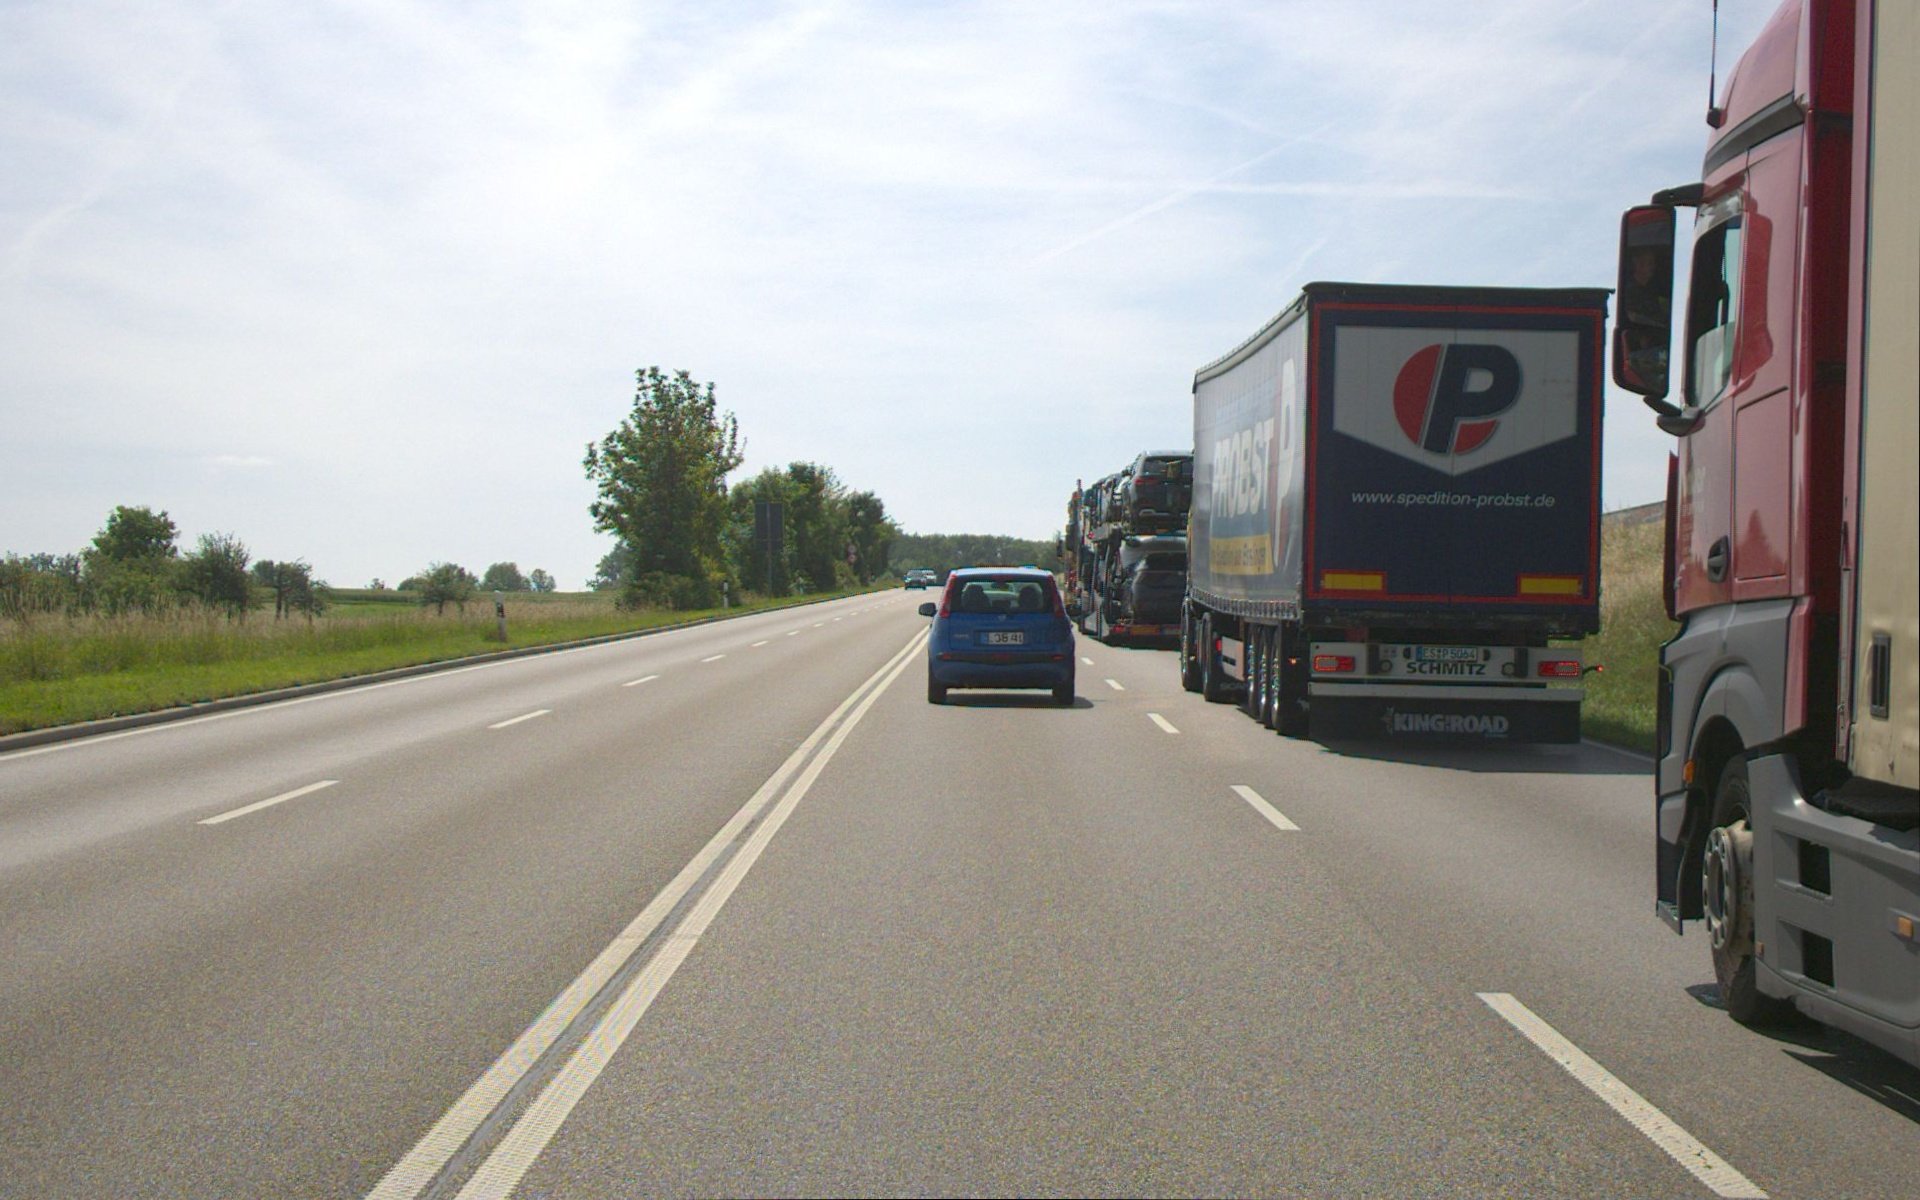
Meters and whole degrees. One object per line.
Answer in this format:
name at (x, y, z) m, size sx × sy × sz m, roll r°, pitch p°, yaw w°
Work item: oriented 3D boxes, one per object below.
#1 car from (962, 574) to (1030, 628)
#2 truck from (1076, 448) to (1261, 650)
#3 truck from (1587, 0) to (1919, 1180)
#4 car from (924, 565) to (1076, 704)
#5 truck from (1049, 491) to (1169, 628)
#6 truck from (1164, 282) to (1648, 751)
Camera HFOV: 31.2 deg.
car at (0.954, 0.007, 93.790) m, size 1.703 × 1.371 × 4.603 m, roll 2°, pitch 0°, yaw -1°
truck at (4.402, -1.065, 76.596) m, size 3.047 × 3.897 × 18.397 m, roll 1°, pitch 0°, yaw 0°
truck at (4.004, -0.550, 4.895) m, size 3.007 × 4.166 × 16.715 m, roll 1°, pitch 0°, yaw 0°
car at (0.509, 0.373, 40.293) m, size 1.632 × 1.526 × 3.914 m, roll 1°, pitch 0°, yaw 2°
truck at (4.543, -1.251, 108.468) m, size 3.047 × 3.897 × 18.397 m, roll 1°, pitch 0°, yaw 0°
truck at (4.228, -0.769, 36.836) m, size 3.047 × 3.897 × 15.615 m, roll 1°, pitch 0°, yaw 0°
